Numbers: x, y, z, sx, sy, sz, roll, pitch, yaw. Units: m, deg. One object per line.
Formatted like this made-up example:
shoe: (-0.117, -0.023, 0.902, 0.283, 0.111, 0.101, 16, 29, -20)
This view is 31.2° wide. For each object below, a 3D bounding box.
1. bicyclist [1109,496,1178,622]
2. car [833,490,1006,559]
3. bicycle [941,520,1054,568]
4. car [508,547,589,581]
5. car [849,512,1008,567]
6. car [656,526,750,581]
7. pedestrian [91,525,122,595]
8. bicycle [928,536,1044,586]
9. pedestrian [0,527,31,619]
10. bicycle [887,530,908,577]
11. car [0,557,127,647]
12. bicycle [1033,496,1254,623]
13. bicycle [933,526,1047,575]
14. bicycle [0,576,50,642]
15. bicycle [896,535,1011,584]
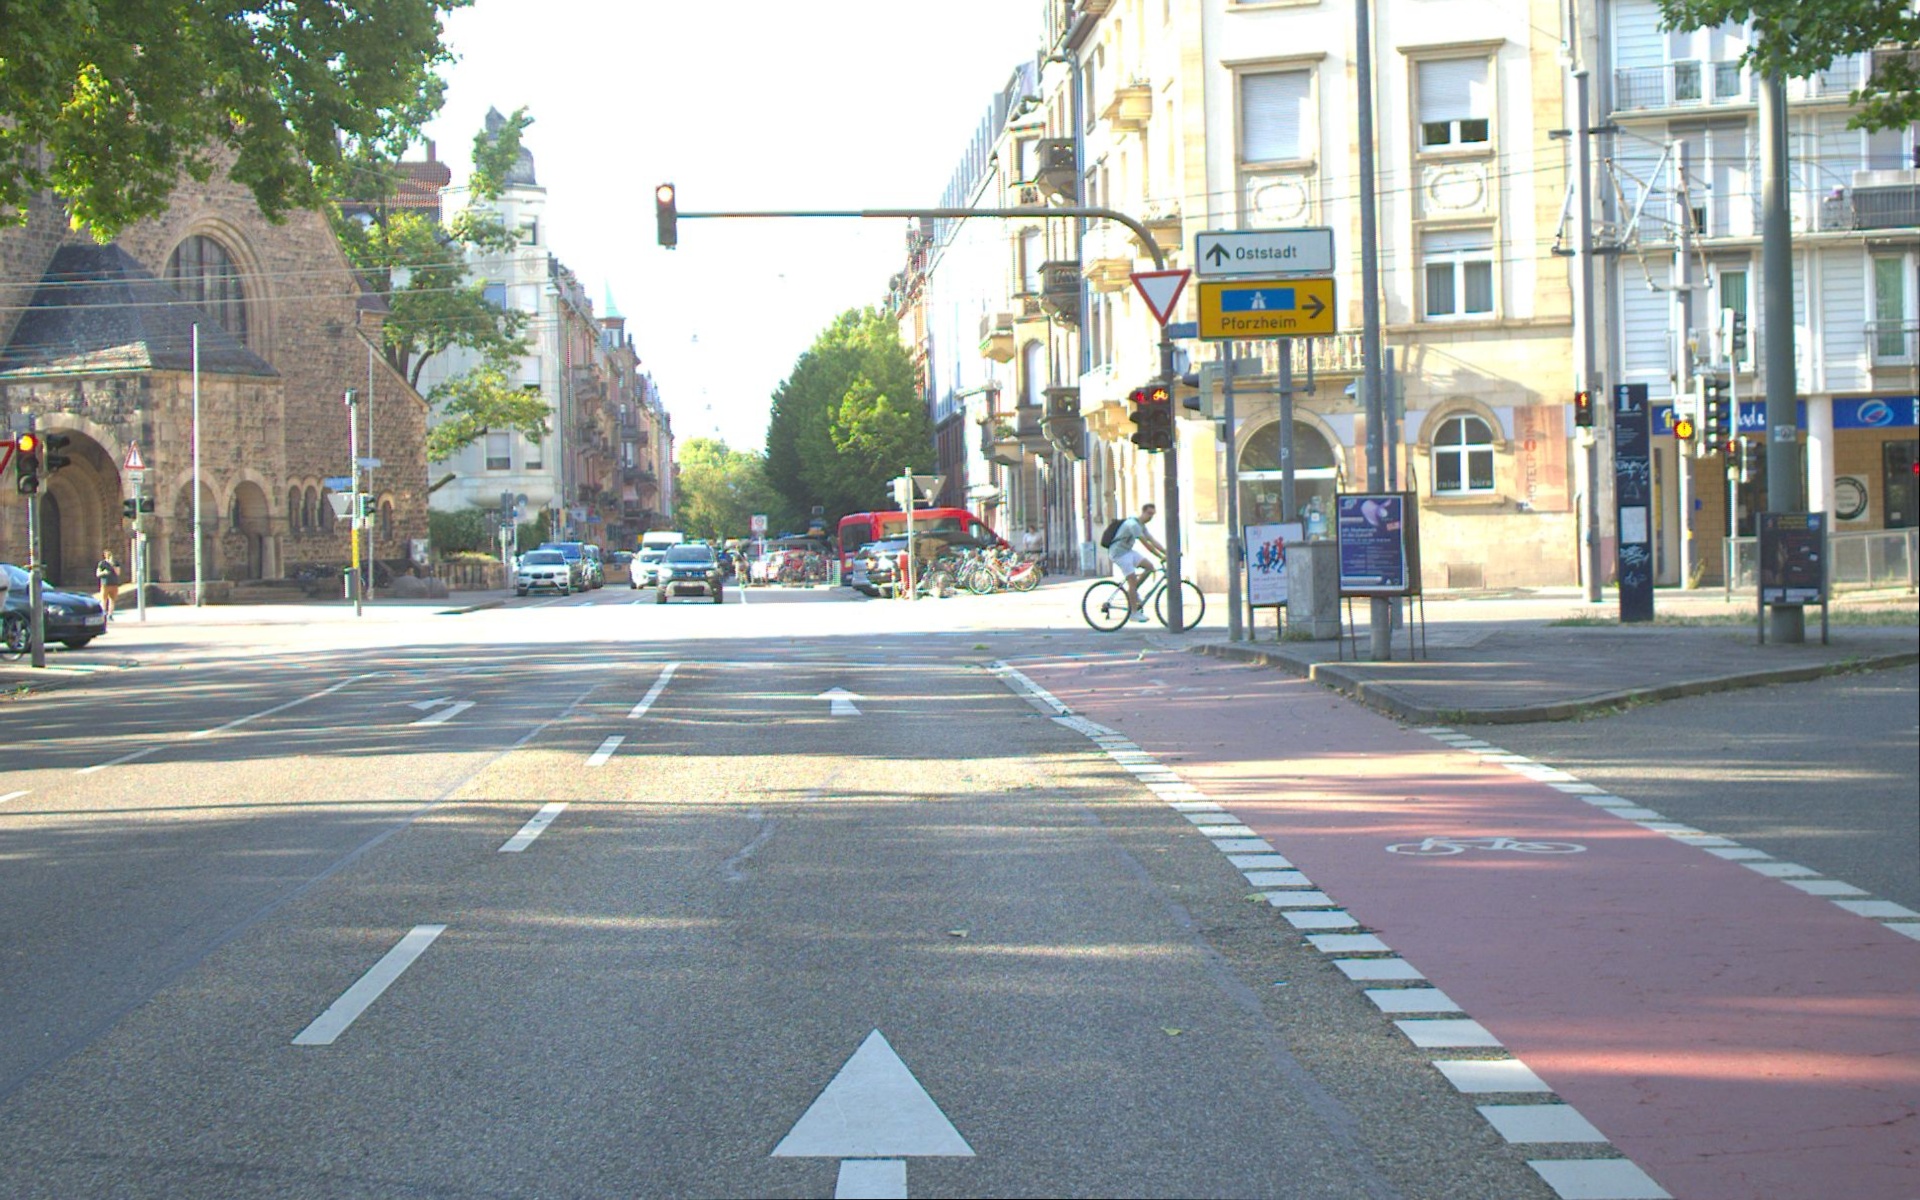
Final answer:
bicyclist: (2.450, -0.547, 45.882, 0.802, 1.651, 0.934, 1, 0, 9)
car: (-1.221, -2.298, 105.514, 4.988, 2.007, 2.166, 0, 0, -38)
bicycle: (0.951, -1.416, 87.171, 2.802, 1.199, 0.510, 1, 0, -5)
car: (-14.397, -1.242, 120.401, 1.595, 1.140, 3.381, 1, 0, 16)
car: (-0.915, -1.783, 101.745, 4.417, 1.532, 1.875, 0, 0, -35)
car: (-7.032, -1.259, 94.305, 1.588, 1.457, 3.181, 1, 0, 15)
pedestrian: (-21.773, -1.013, 87.697, 0.610, 1.784, 0.711, 1, 0, -2)
bicycle: (0.640, -0.954, 85.081, 2.802, 1.199, 0.510, 1, 0, -5)
pedestrian: (-13.637, -0.382, 47.913, 1.050, 1.273, 0.791, 1, 0, 28)
bicycle: (-1.597, -1.185, 88.524, 0.508, 1.199, 2.092, 1, 0, -1)
car: (-15.578, 0.014, 55.350, 3.930, 1.392, 1.651, 1, 0, 19)
bicycle: (2.453, -0.538, 45.875, 2.842, 1.650, 0.830, 1, 0, 9)
bicycle: (0.753, -1.251, 86.629, 2.802, 1.199, 0.517, 1, 0, -5)
bicycle: (-13.640, 0.125, 47.918, 1.784, 0.892, 0.749, 0, 2, 28)
bicycle: (-0.163, -1.009, 85.883, 2.802, 1.199, 0.517, 1, 0, -5)
